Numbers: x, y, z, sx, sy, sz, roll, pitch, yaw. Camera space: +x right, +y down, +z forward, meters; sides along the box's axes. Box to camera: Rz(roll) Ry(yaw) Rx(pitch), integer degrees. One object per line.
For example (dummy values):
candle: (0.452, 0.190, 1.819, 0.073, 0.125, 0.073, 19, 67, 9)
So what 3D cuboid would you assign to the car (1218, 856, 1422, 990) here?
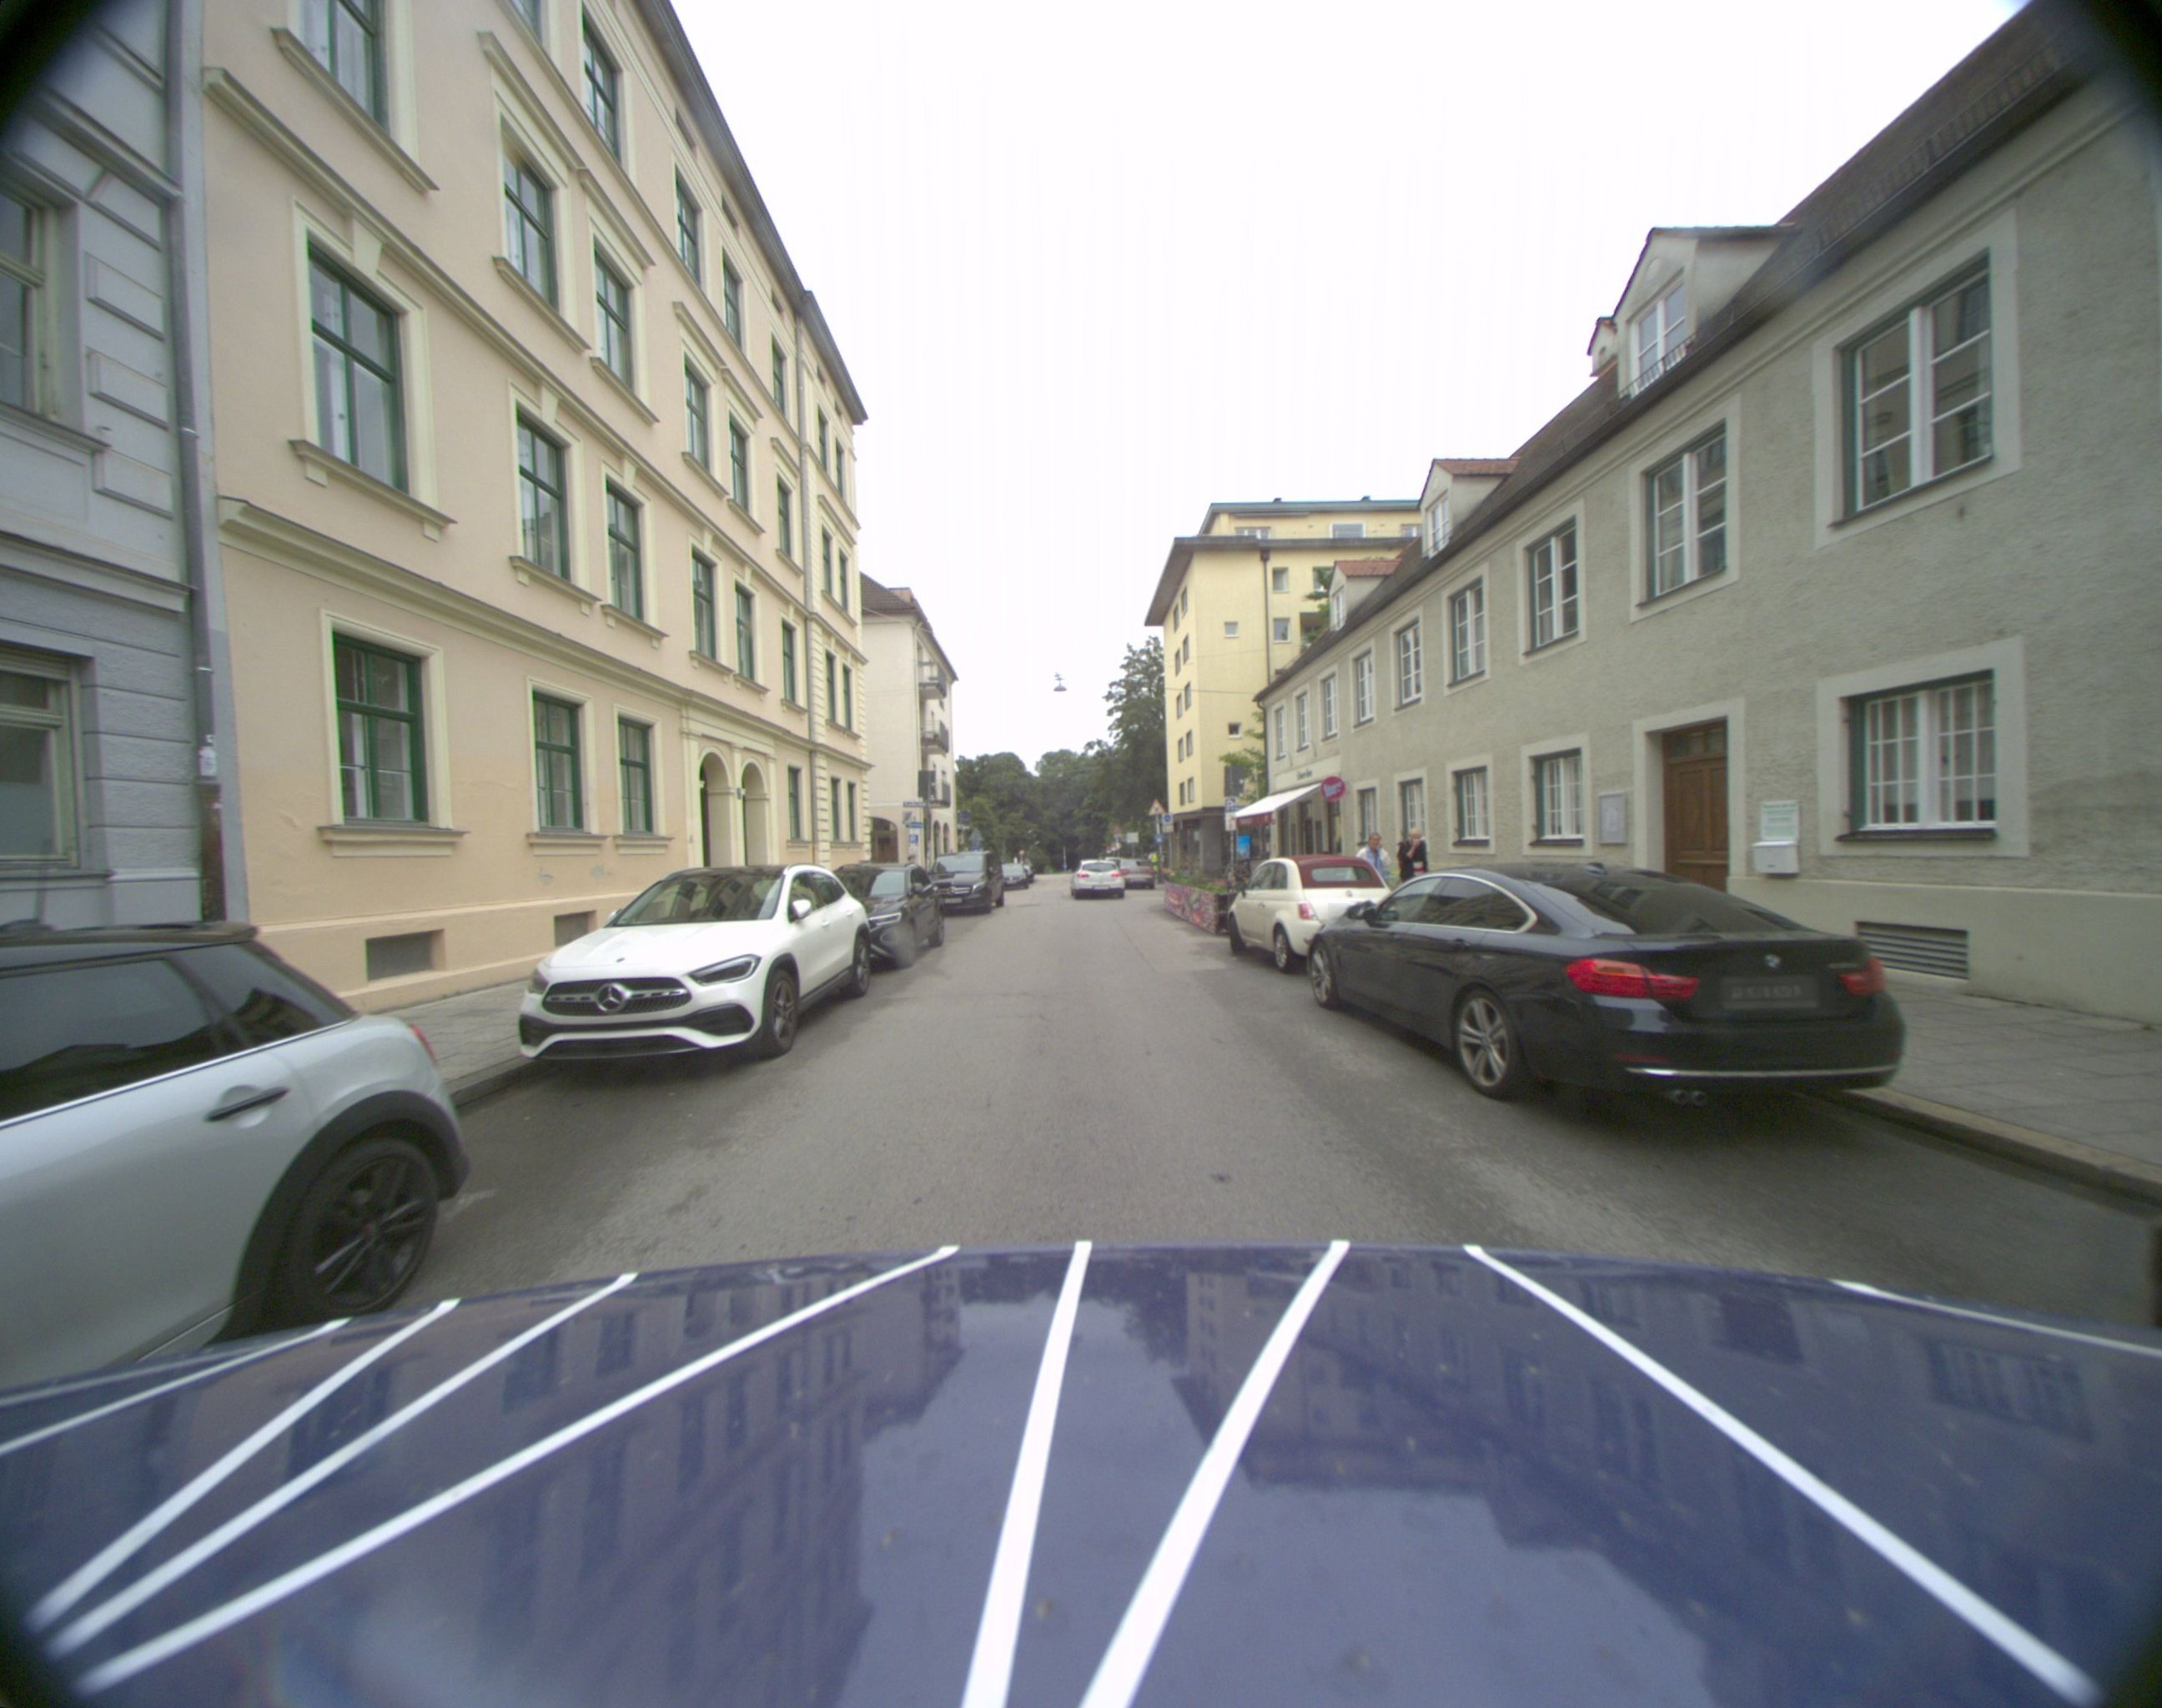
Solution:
car: (3.173, 0.825, 10.790, 1.573, 1.505, 3.422, -3, 0, -4)

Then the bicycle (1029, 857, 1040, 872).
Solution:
bicycle: (-4.293, 0.951, 70.094, 0.689, 1.370, 2.398, -3, 0, 4)

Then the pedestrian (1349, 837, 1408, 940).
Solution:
pedestrian: (4.788, 0.543, 12.247, 0.614, 1.589, 0.662, -2, 1, -4)

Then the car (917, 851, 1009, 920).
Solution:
car: (-3.537, 0.868, 23.794, 1.998, 1.850, 5.113, -2, 0, 0)

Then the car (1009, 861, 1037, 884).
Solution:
car: (-4.143, 1.315, 54.708, 1.711, 1.491, 3.999, -2, 0, -1)

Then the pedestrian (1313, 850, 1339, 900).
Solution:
pedestrian: (6.413, 0.543, 19.909, 0.523, 1.258, 0.548, -3, -1, 13)

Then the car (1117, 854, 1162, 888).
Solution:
car: (2.707, 0.760, 36.052, 1.711, 1.491, 3.999, -2, 0, -1)

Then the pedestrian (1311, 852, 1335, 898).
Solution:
pedestrian: (6.553, 0.578, 20.626, 0.509, 1.206, 0.595, -3, -1, 13)

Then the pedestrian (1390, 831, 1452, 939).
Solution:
pedestrian: (5.538, 0.490, 12.408, 0.582, 1.689, 0.806, -2, 1, -4)

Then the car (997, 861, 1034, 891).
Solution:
car: (-3.542, 1.154, 41.635, 1.711, 1.491, 3.999, -2, 0, -1)

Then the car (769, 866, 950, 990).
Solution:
car: (-3.359, 1.032, 12.370, 1.721, 1.557, 4.142, -2, 0, -1)

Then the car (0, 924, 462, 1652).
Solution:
car: (-3.258, 1.066, 1.068, 1.722, 1.501, 3.934, -2, 0, -5)

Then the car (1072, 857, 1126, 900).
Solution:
car: (0.600, 0.845, 27.921, 1.793, 1.409, 3.904, -1, 0, -1)

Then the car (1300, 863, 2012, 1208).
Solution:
car: (3.220, 0.838, 5.551, 1.862, 1.393, 4.268, -3, 0, -2)

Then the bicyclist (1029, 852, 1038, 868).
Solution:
bicyclist: (-4.346, 0.570, 70.022, 0.650, 1.466, 0.767, -3, 1, 6)

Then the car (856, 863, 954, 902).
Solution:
car: (-7.801, 1.242, 33.983, 3.998, 1.556, 1.712, -2, 0, -4)

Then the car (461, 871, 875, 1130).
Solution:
car: (-3.380, 1.042, 7.327, 1.721, 1.592, 4.322, -2, 0, -2)

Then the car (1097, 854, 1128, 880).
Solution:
car: (2.059, 0.820, 50.055, 1.711, 1.550, 3.999, -2, 0, -1)

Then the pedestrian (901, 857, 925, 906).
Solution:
pedestrian: (-6.235, 1.008, 28.250, 0.698, 1.792, 0.730, -2, 1, -1)
